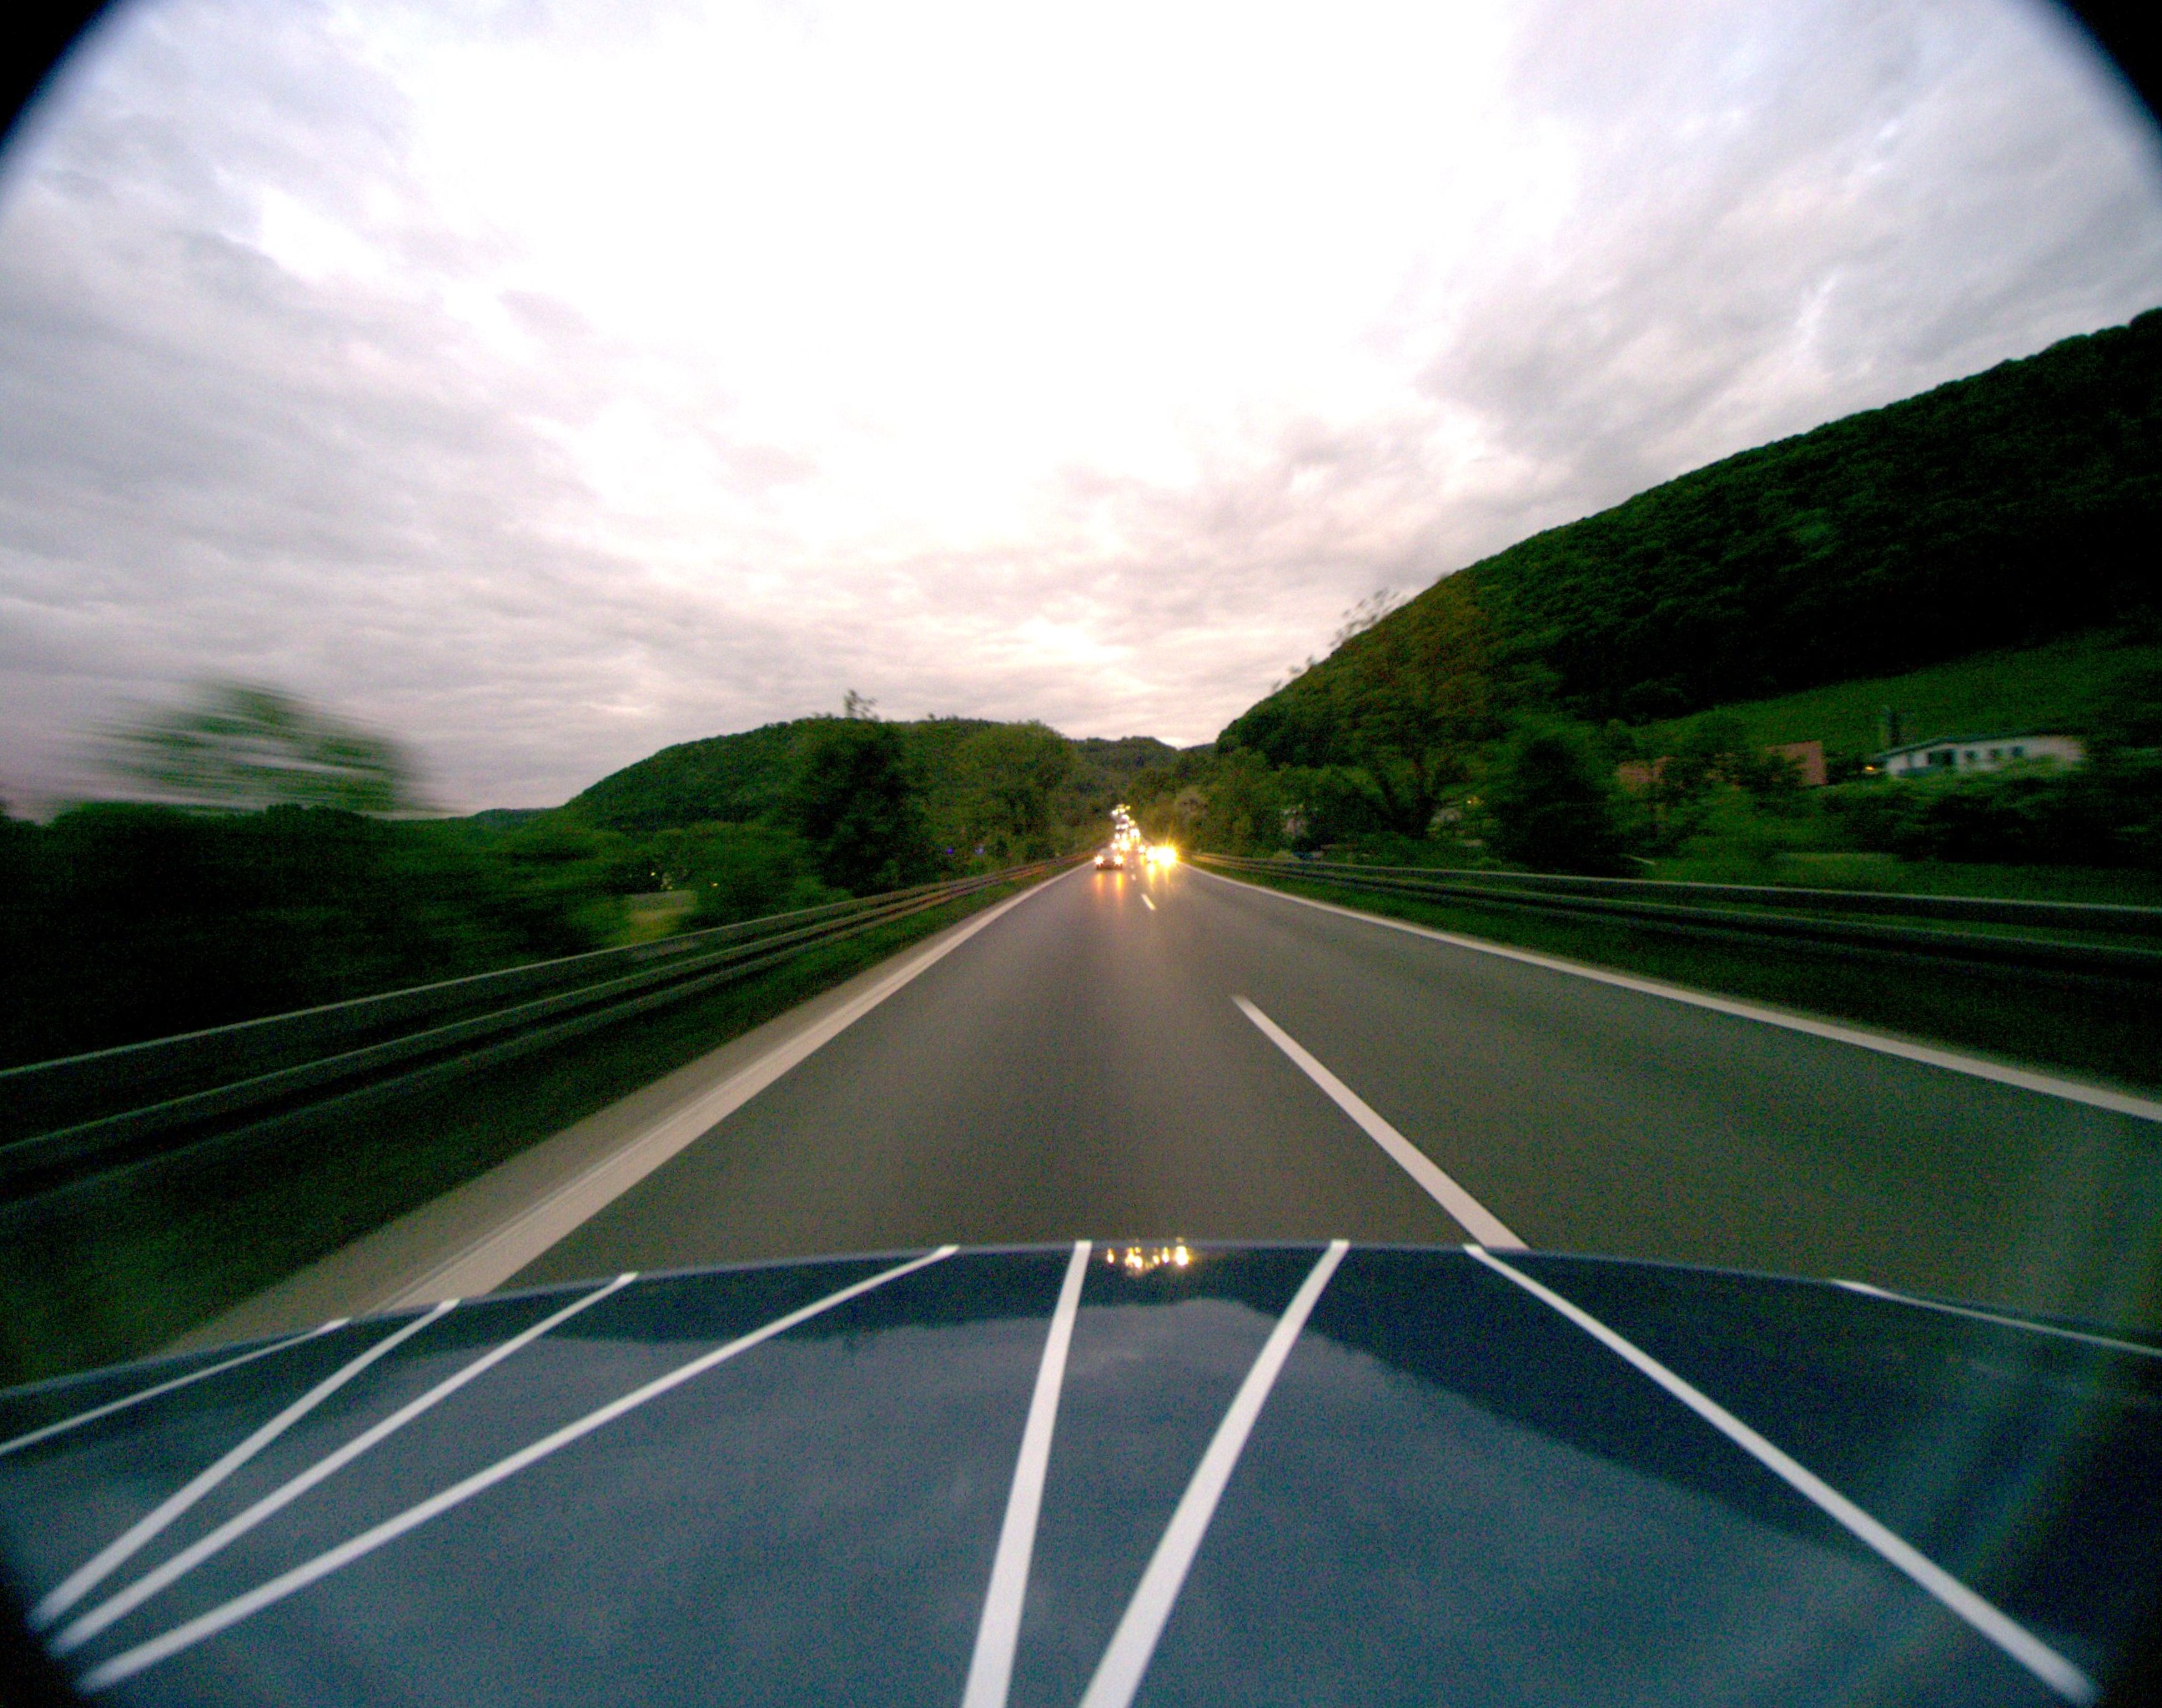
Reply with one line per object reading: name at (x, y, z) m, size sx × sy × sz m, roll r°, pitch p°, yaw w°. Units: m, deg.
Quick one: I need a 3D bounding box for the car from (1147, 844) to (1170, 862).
car at (6.820, -0.069, 67.229) m, size 1.690 × 1.459 × 3.768 m, roll -3°, pitch 0°, yaw 1°

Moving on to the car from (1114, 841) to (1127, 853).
car at (5.919, -1.100, 114.215) m, size 1.737 × 1.641 × 3.669 m, roll -3°, pitch 0°, yaw 1°

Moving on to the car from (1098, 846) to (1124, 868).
car at (2.159, 0.217, 53.611) m, size 1.690 × 1.443 × 3.670 m, roll -3°, pitch 0°, yaw 4°

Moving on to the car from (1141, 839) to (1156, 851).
car at (8.810, -1.124, 99.736) m, size 1.690 × 1.425 × 3.669 m, roll -3°, pitch 0°, yaw 2°
